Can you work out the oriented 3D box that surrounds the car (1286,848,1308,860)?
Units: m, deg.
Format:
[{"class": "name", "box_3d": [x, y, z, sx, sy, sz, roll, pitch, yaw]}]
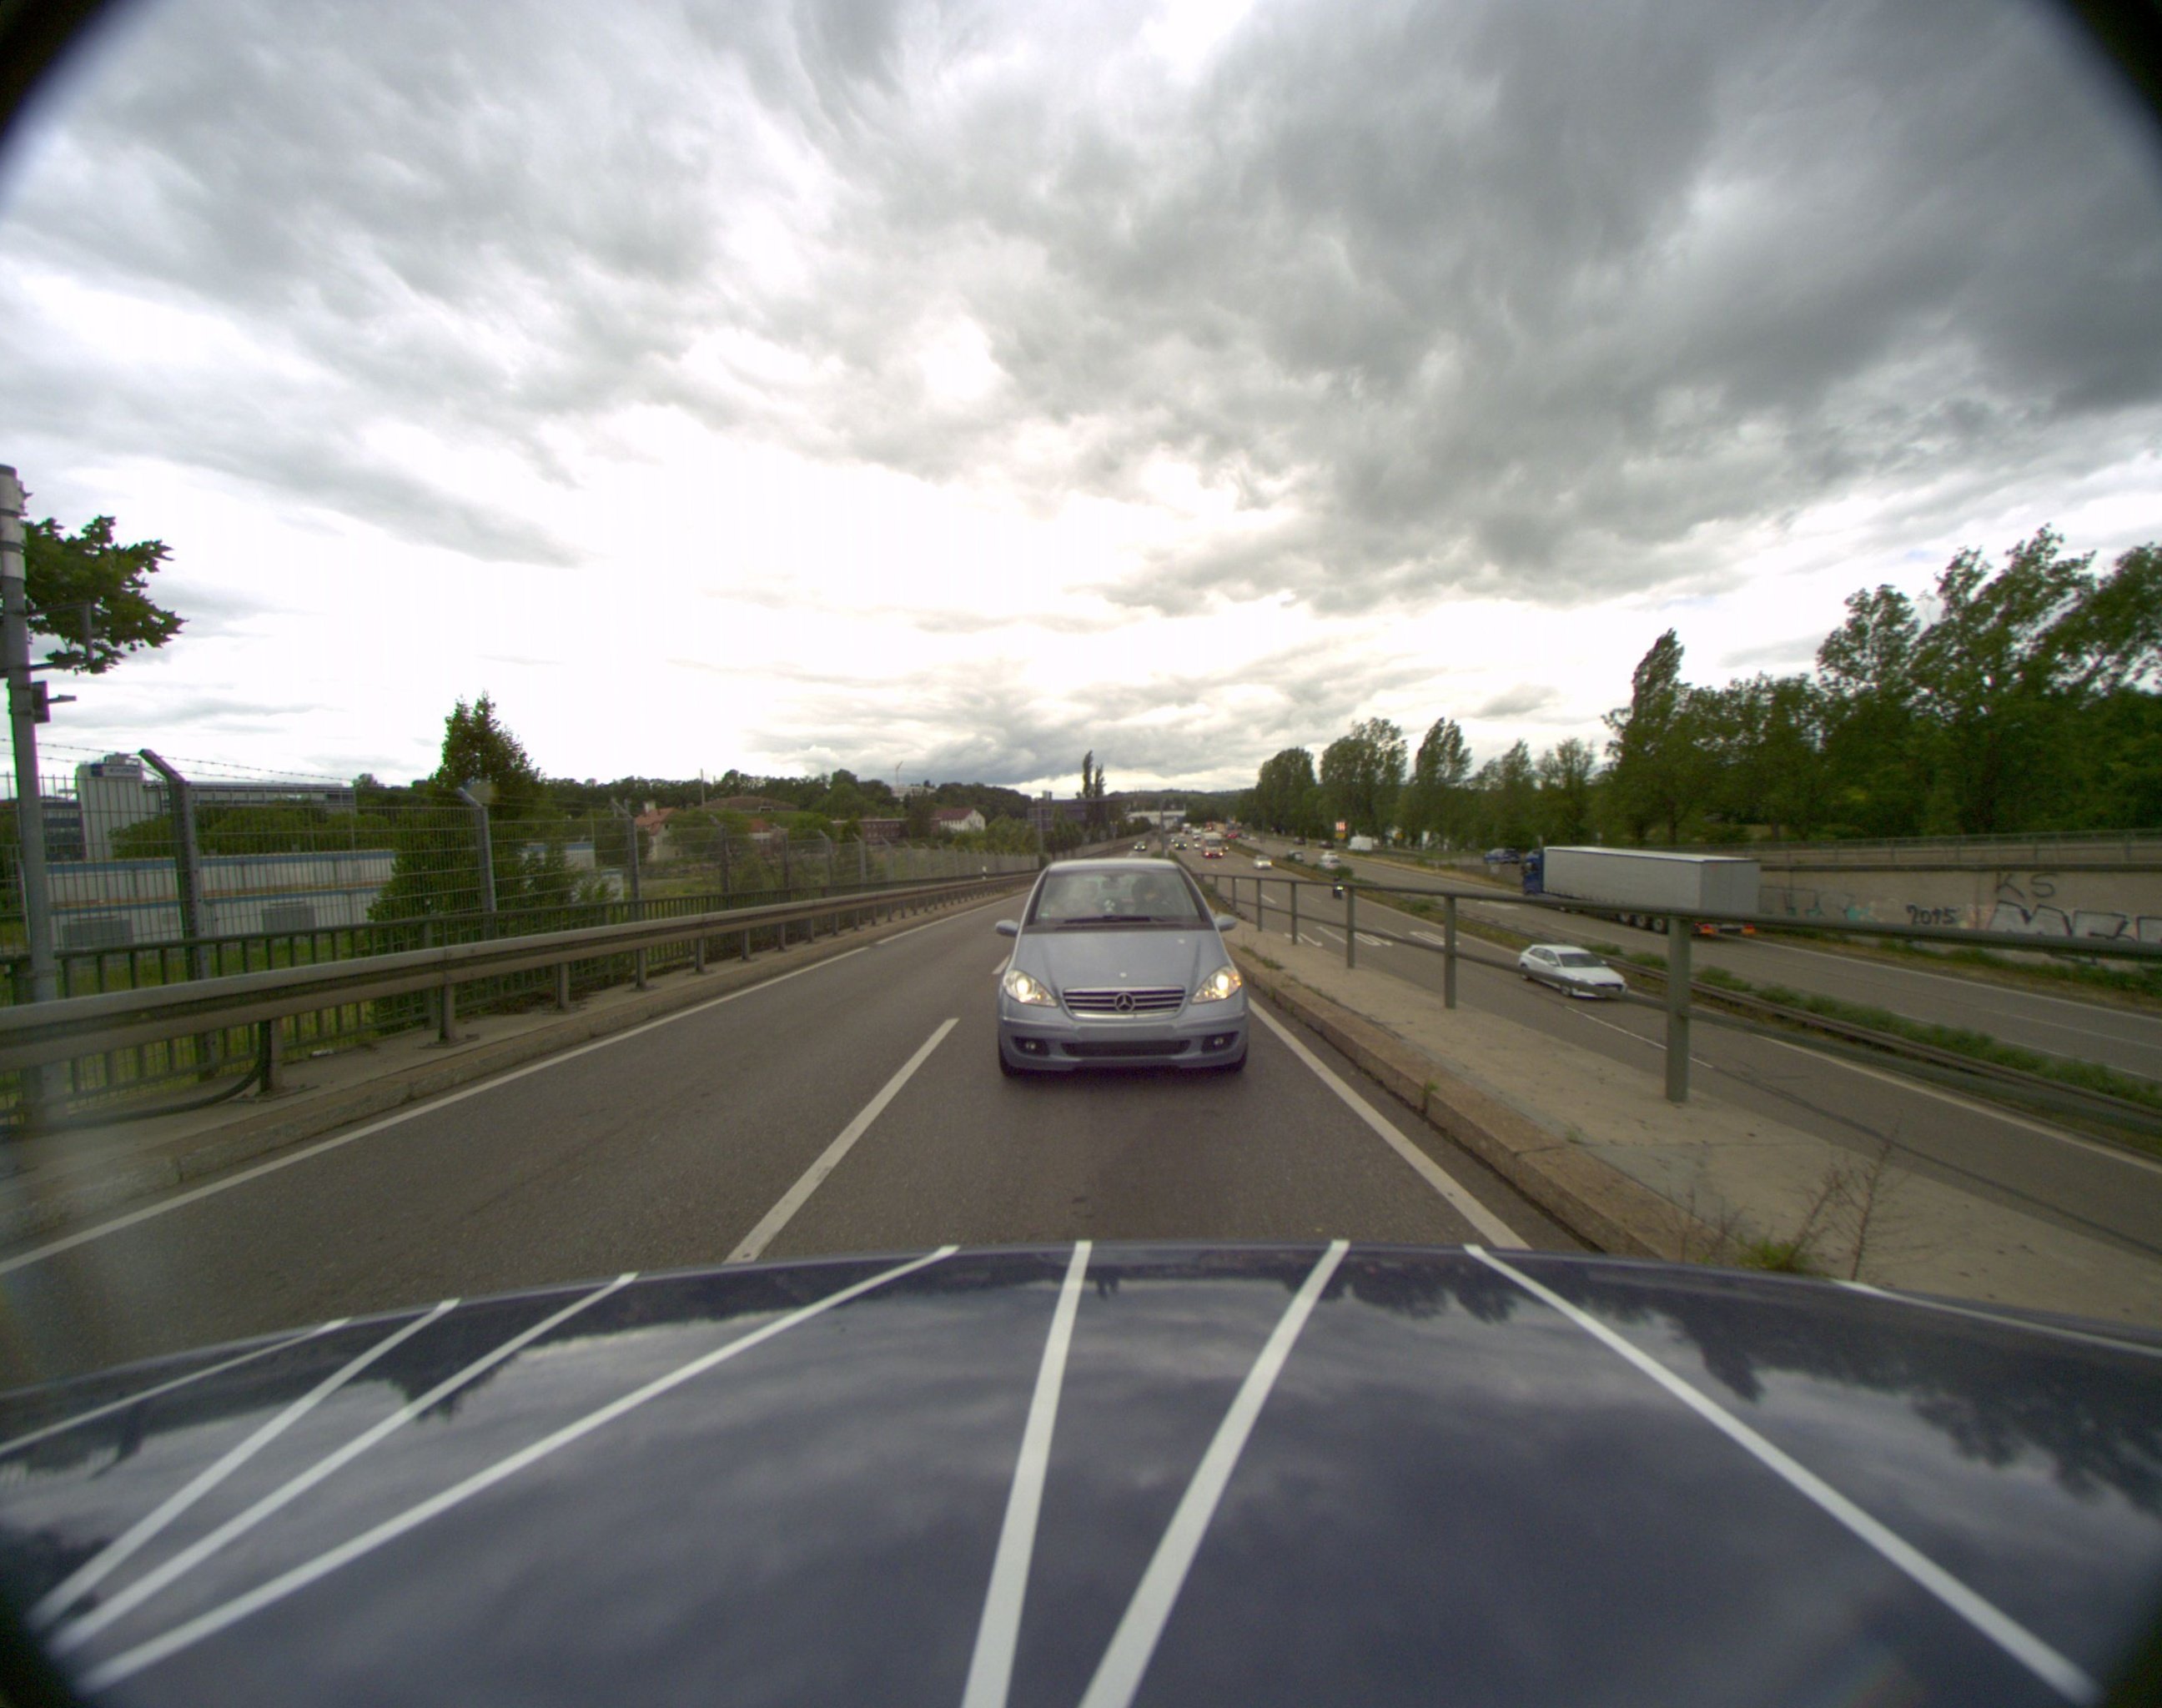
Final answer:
[{"class": "car", "box_3d": [28.341, -0.025, 99.854, 1.998, 1.412, 3.999, 2, 3, 4]}]

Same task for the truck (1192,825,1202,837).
[{"class": "truck", "box_3d": [30.728, -6.205, 201.805, 2.238, 2.993, 7.231, -1, 3, 6]}]

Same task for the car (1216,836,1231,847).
[{"class": "car", "box_3d": [24.417, -2.142, 130.544, 1.834, 1.570, 4.181, -2, 4, 2]}]

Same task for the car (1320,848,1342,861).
[{"class": "car", "box_3d": [31.586, 0.035, 96.021, 1.682, 1.412, 3.999, 0, 3, 4]}]

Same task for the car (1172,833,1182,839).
[{"class": "car", "box_3d": [22.539, -4.206, 177.867, 1.828, 1.443, 4.125, 0, 3, 1]}]

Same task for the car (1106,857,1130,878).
[{"class": "car", "box_3d": [3.143, 1.138, 64.726, 1.830, 1.701, 4.001, -2, -1, 1]}]

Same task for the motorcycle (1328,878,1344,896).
[{"class": "motorcycle", "box_3d": [19.025, 2.446, 56.745, 0.595, 1.197, 2.125, -2, 3, 2]}]

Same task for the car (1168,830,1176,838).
[{"class": "car", "box_3d": [24.099, -5.427, 201.534, 1.998, 2.003, 3.999, 0, 3, 3]}]

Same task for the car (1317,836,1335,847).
[{"class": "car", "box_3d": [44.801, -2.233, 138.787, 1.886, 1.807, 4.560, 2, 3, 2]}]

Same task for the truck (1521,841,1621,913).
[{"class": "truck", "box_3d": [31.506, 1.333, 49.211, 2.793, 4.117, 5.933, -1, 3, 3]}]

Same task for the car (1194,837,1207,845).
[{"class": "car", "box_3d": [22.454, -2.515, 142.877, 1.789, 1.294, 4.151, 0, 3, 2]}]

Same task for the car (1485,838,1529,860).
[{"class": "car", "box_3d": [41.695, -0.503, 74.500, 1.998, 1.890, 4.583, 2, 3, 5]}]

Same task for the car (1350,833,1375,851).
[{"class": "car", "box_3d": [43.837, -1.911, 118.614, 1.998, 2.635, 5.179, 2, 3, 2]}]

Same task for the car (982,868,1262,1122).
[{"class": "car", "box_3d": [0.290, 0.927, 6.764, 1.743, 1.534, 3.993, -1, 0, 1]}]

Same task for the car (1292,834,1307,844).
[{"class": "car", "box_3d": [45.537, -3.179, 158.399, 1.886, 1.807, 4.560, 2, 3, 2]}]

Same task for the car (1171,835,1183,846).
[{"class": "car", "box_3d": [17.632, -2.483, 139.579, 1.997, 1.830, 4.425, 0, 3, 7]}]

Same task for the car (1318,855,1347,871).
[{"class": "car", "box_3d": [27.119, 0.935, 82.102, 1.998, 1.412, 3.999, 2, 3, 4]}]

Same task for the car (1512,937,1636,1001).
[{"class": "car", "box_3d": [17.424, 4.028, 27.129, 1.622, 1.414, 4.414, -1, 3, 2]}]

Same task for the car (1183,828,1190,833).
[{"class": "car", "box_3d": [33.418, -7.446, 241.414, 1.769, 1.520, 3.334, 0, 3, 1]}]

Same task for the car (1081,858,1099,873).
[{"class": "car", "box_3d": [0.921, 1.120, 76.674, 1.588, 1.423, 3.443, -2, 1, 4]}]

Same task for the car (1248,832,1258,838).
[{"class": "car", "box_3d": [43.195, -4.860, 190.903, 1.998, 1.412, 3.999, -1, 3, 4]}]

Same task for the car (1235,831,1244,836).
[{"class": "car", "box_3d": [48.259, -6.361, 231.529, 1.998, 1.412, 3.999, -1, 3, 4]}]

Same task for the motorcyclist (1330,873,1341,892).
[{"class": "motorcyclist", "box_3d": [19.015, 2.131, 56.766, 0.595, 1.364, 0.761, -2, 3, 2]}]

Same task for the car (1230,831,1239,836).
[{"class": "car", "box_3d": [42.911, -5.734, 212.727, 1.998, 1.412, 3.999, -1, 3, 4]}]

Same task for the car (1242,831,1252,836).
[{"class": "car", "box_3d": [45.477, -5.650, 208.093, 1.998, 1.412, 3.999, -1, 3, 4]}]

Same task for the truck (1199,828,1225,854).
[{"class": "truck", "box_3d": [19.585, -2.003, 113.949, 2.888, 3.506, 9.870, 1, 3, 4]}]

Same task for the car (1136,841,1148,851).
[{"class": "car", "box_3d": [11.068, -1.475, 137.053, 1.799, 1.643, 4.153, -2, -1, 8]}]

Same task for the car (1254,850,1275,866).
[{"class": "car", "box_3d": [21.164, 0.448, 87.878, 1.696, 1.524, 3.607, -1, 3, 2]}]

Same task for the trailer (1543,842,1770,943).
[{"class": "trailer", "box_3d": [31.170, 1.714, 42.554, 2.793, 4.117, 13.758, -1, 3, 3]}]
